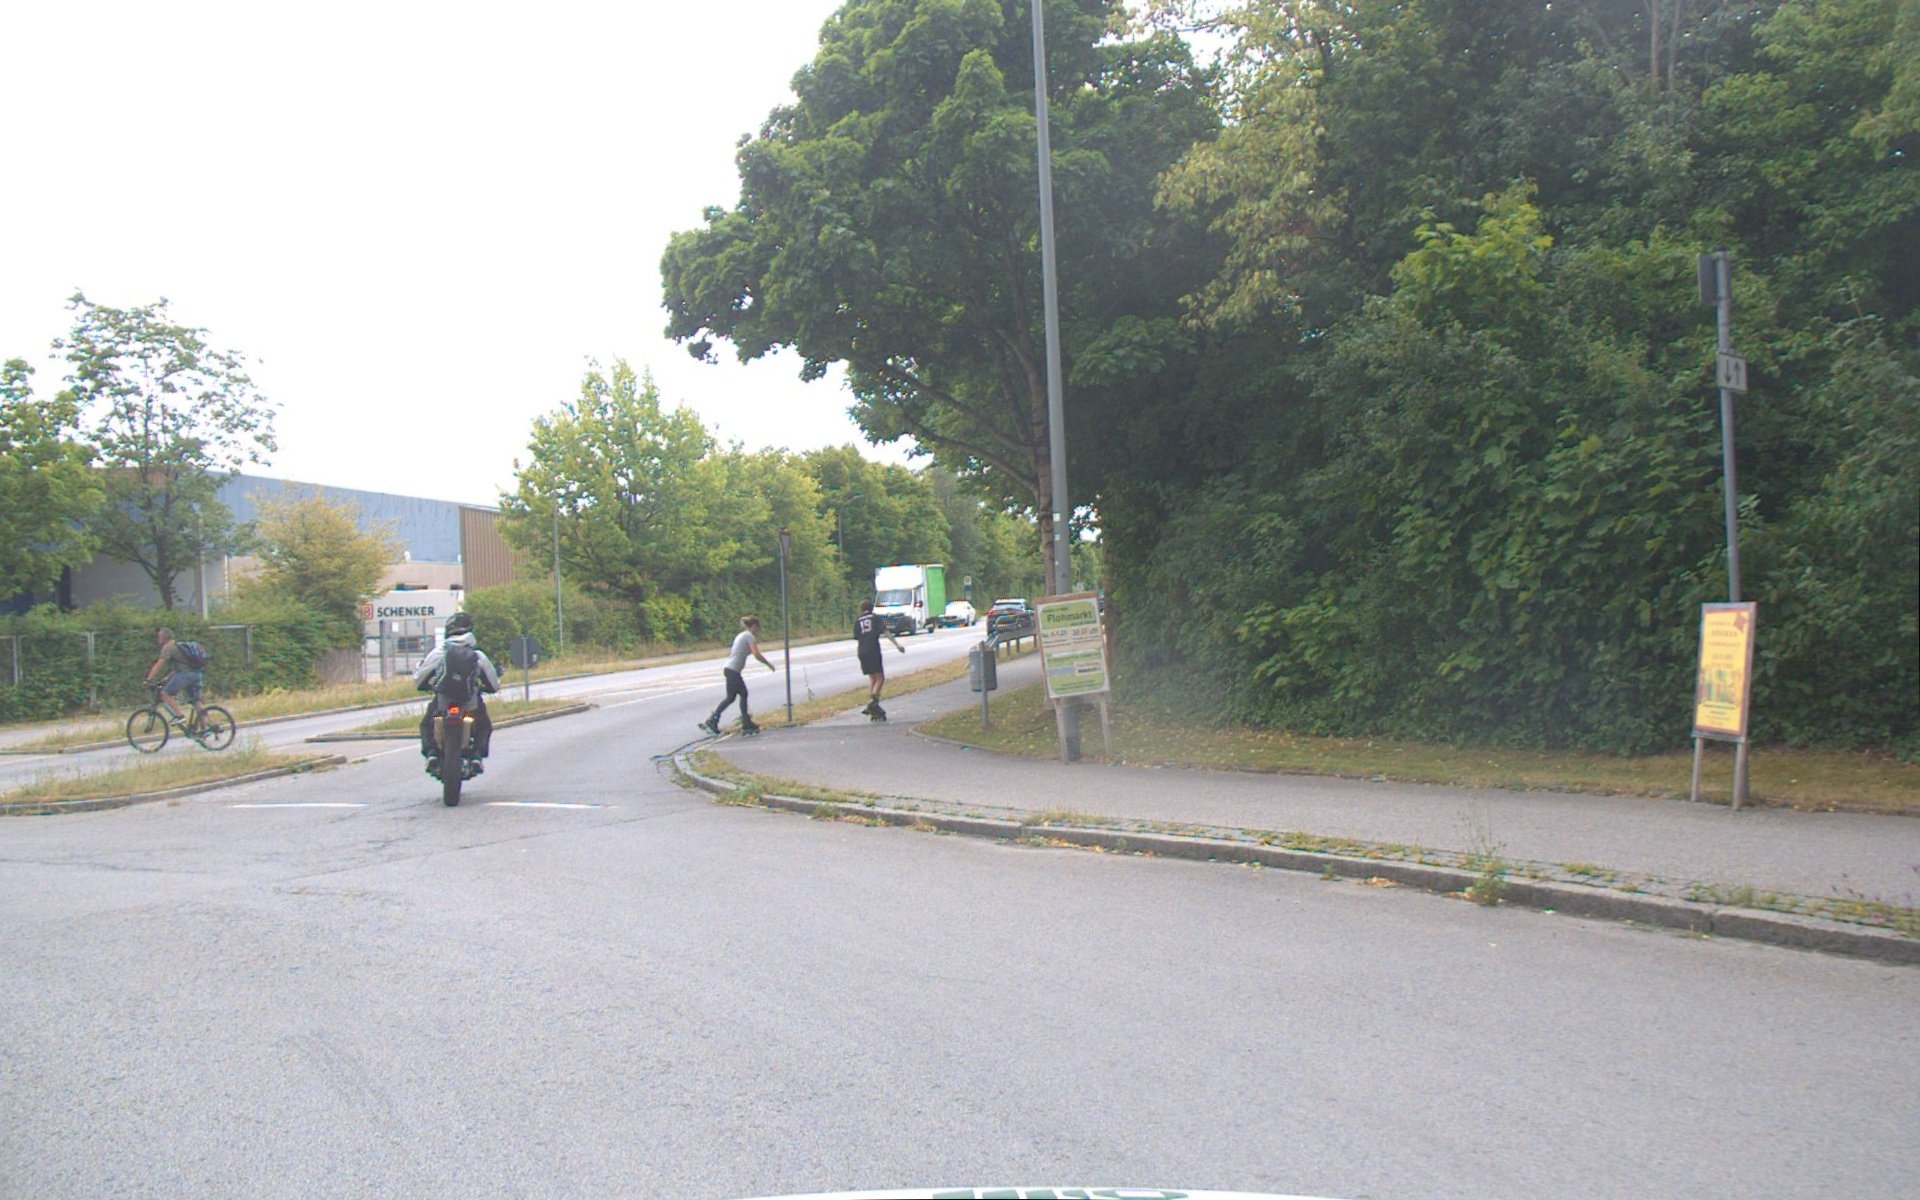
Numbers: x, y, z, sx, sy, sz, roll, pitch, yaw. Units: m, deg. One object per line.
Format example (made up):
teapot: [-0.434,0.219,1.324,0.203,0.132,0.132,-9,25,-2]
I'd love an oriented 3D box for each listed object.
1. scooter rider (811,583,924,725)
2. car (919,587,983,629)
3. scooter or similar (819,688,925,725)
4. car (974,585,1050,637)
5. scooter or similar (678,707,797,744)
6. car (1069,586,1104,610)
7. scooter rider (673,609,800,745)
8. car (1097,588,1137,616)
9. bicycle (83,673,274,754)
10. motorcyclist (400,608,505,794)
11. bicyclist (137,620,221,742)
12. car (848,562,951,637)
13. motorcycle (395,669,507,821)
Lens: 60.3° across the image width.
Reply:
scooter rider: [-1.335,0.775,24.166,1.196,1.943,1.129,-4,0,18]
car: [-0.484,0.452,96.324,2.622,2.211,6.005,-3,0,10]
scooter or similar: [-1.277,1.550,24.175,1.196,0.387,1.129,-4,0,18]
car: [2.277,0.432,70.303,2.460,1.981,5.716,-3,0,9]
scooter or similar: [-3.037,1.702,22.560,1.218,0.370,1.083,-3,0,-43]
car: [11.796,-0.219,154.061,2.460,1.981,5.716,-3,0,11]
scooter rider: [-3.053,1.027,22.564,1.234,1.701,1.083,-5,1,-41]
car: [12.234,0.118,128.589,2.460,1.981,5.716,-3,0,11]
bicycle: [-11.502,1.672,24.399,2.446,1.108,0.771,-1,0,2]
motorcyclist: [-4.817,0.923,15.768,0.847,1.652,1.185,-3,0,-16]
bicyclist: [-11.521,1.183,24.408,0.897,1.753,0.659,-1,0,3]
car: [-2.788,-0.049,79.303,3.103,3.260,7.640,-3,0,11]
motorcycle: [-4.812,1.318,15.782,0.882,1.178,2.609,-3,0,-16]
